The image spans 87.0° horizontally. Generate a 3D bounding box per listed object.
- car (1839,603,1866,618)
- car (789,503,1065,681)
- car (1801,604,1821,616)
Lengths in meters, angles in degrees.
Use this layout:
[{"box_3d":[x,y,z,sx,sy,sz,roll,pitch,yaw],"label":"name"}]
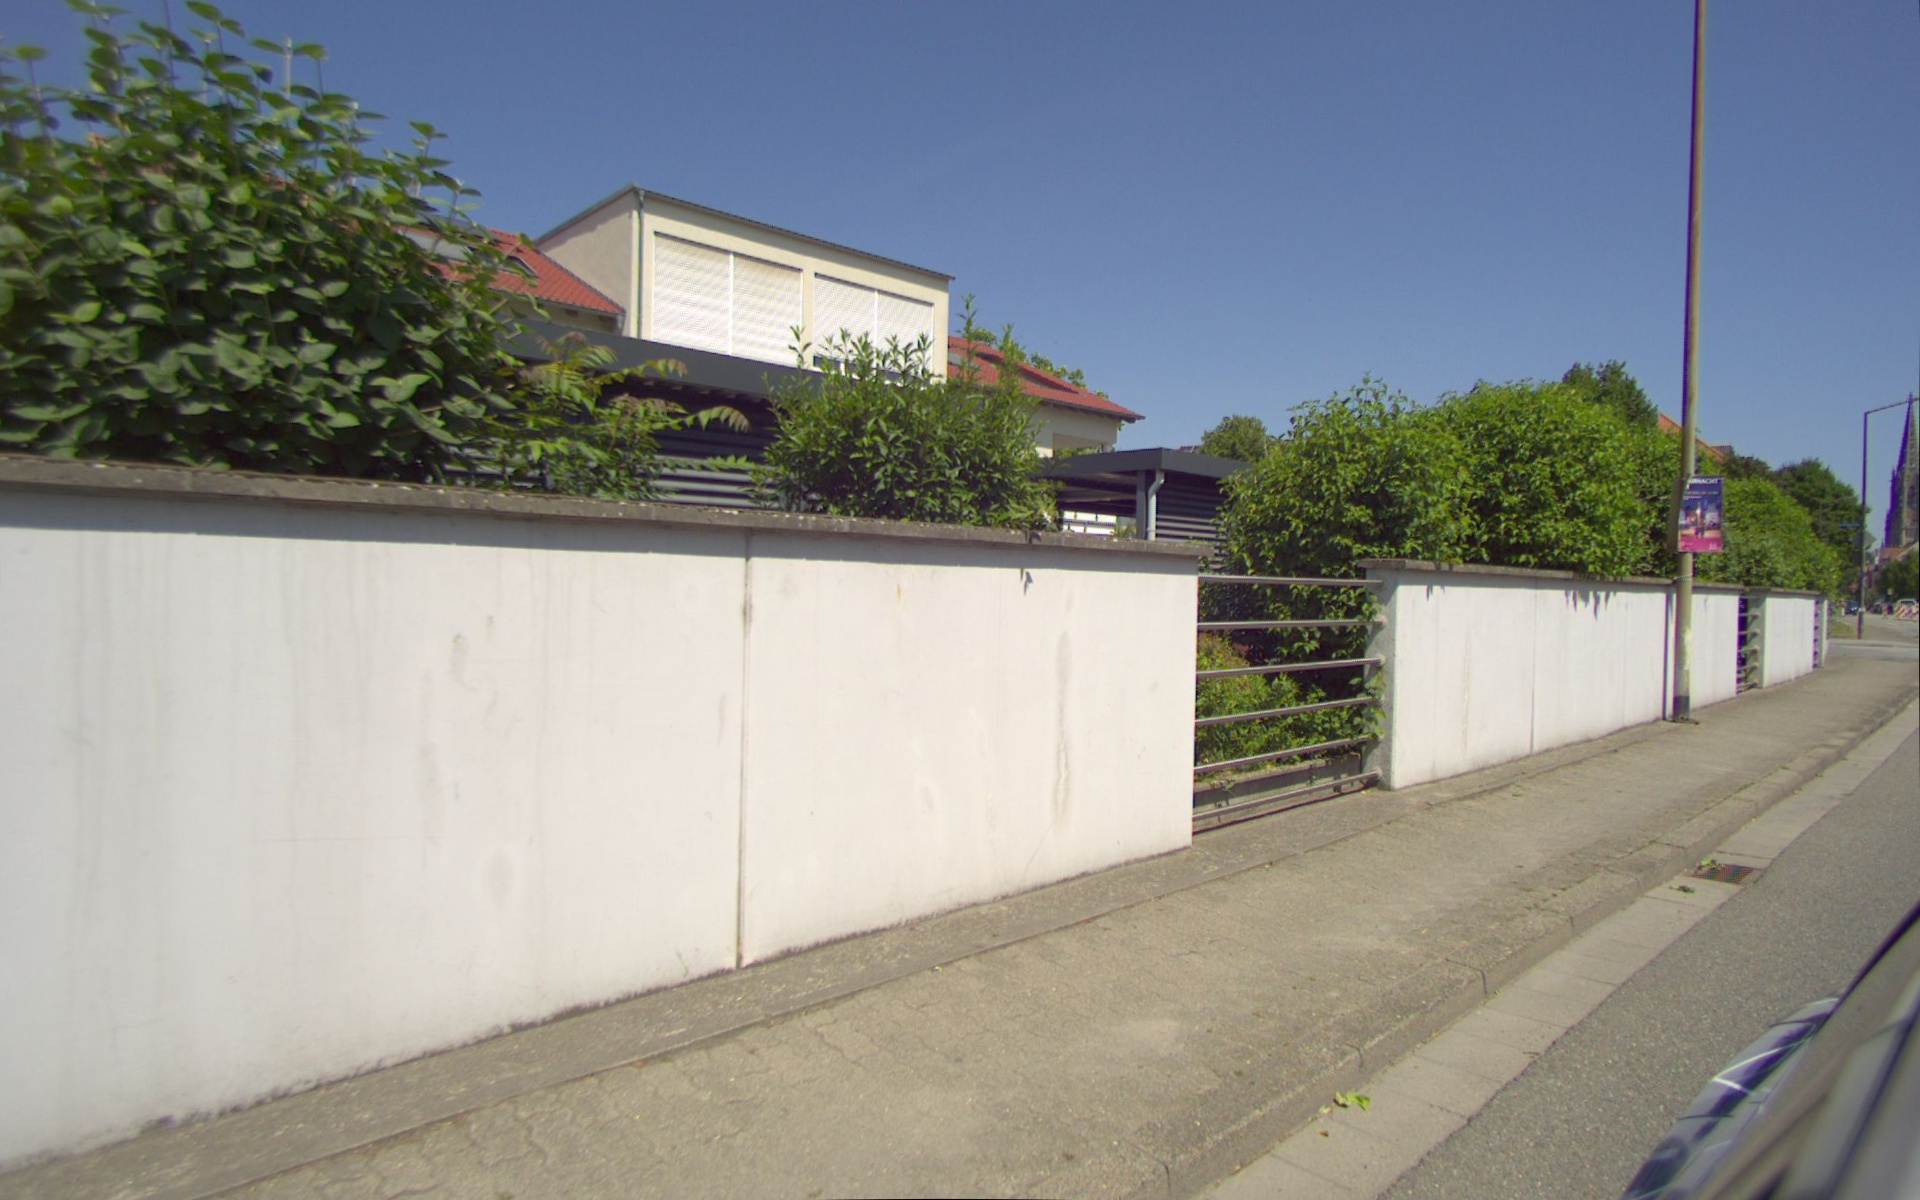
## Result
[{"box_3d":[93.312,1.047,105.878,1.702,1.476,3.519,2,1,35],"label":"car"},{"box_3d":[-0.395,-0.087,9.668,1.259,1.459,2.626,1,0,-41],"label":"car"},{"box_3d":[98.824,1.131,117.591,1.600,1.429,3.855,0,0,38],"label":"car"}]
